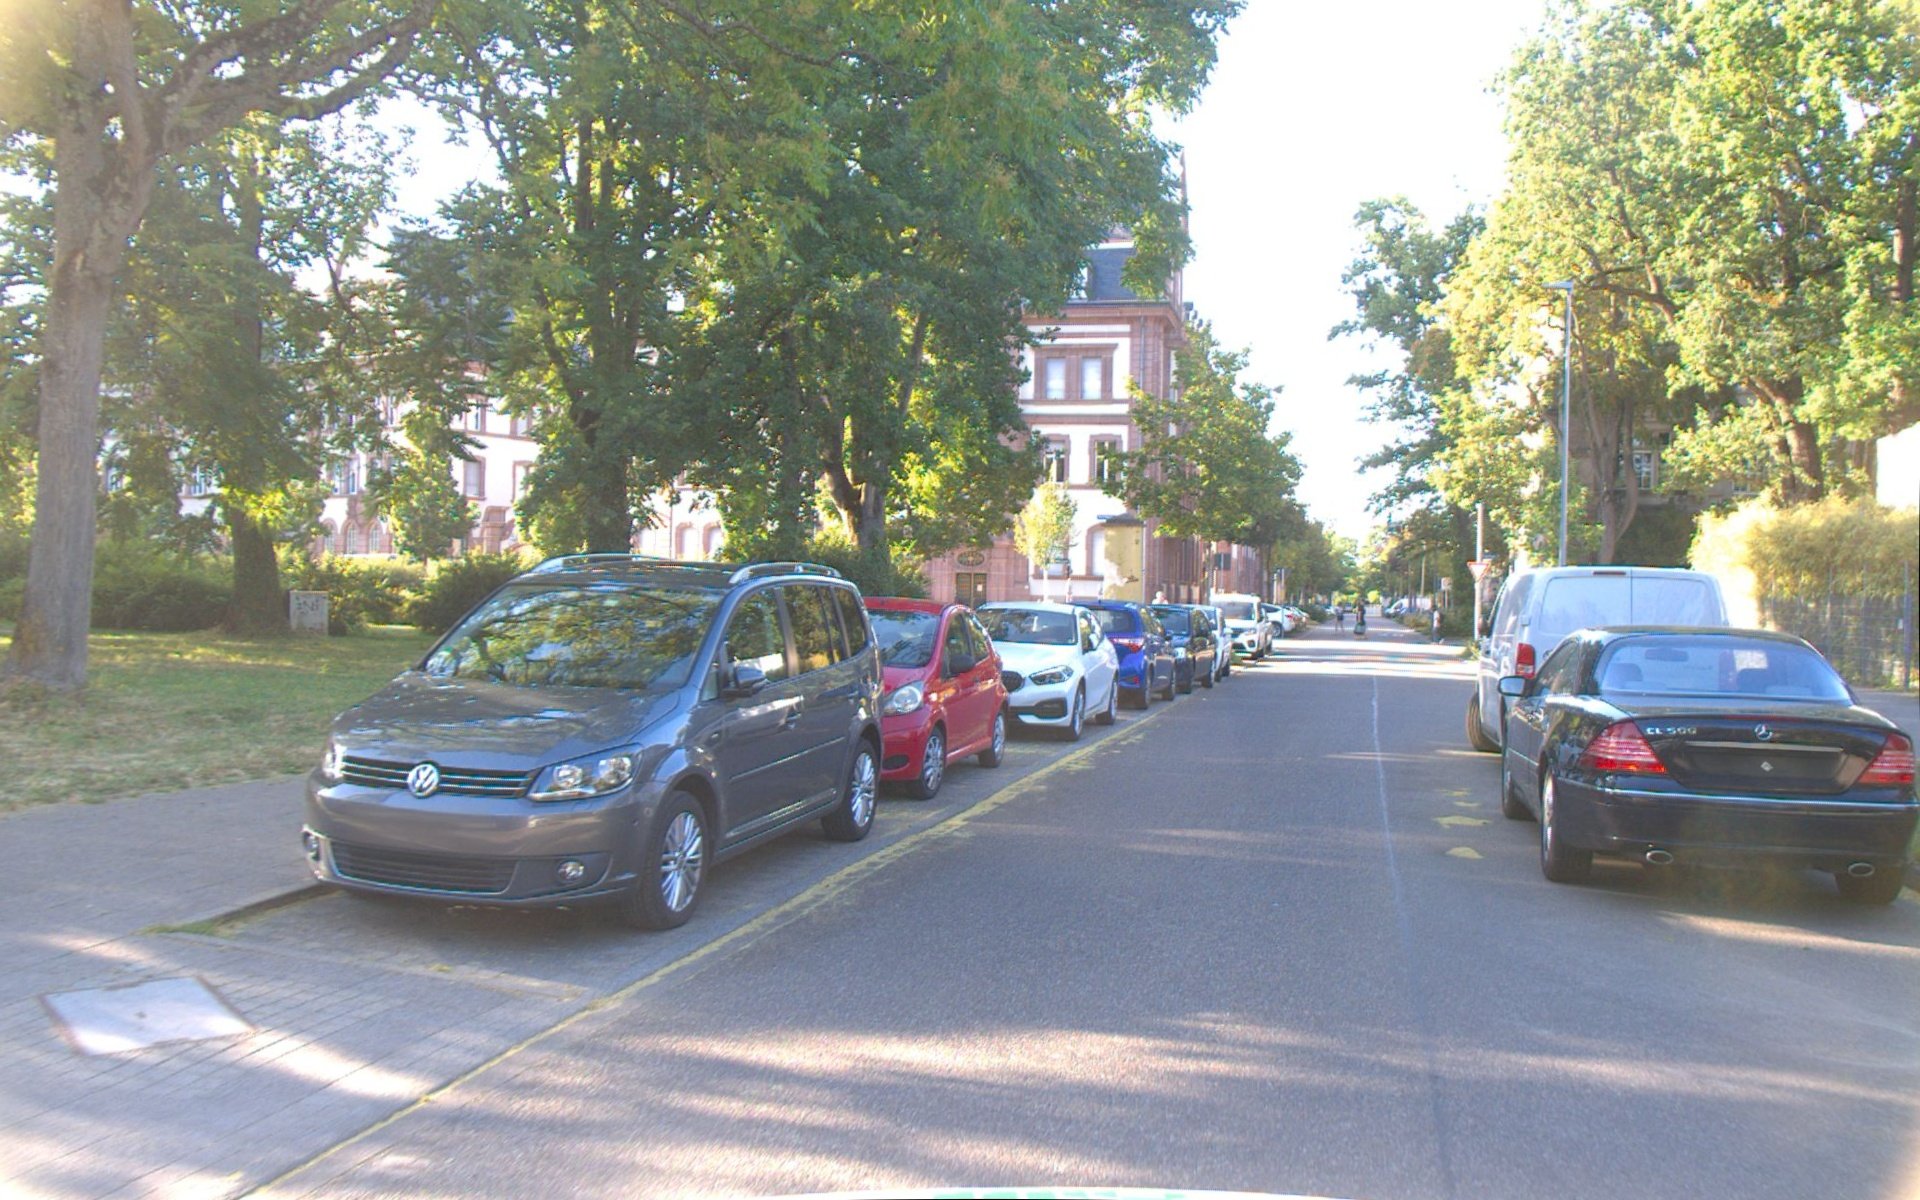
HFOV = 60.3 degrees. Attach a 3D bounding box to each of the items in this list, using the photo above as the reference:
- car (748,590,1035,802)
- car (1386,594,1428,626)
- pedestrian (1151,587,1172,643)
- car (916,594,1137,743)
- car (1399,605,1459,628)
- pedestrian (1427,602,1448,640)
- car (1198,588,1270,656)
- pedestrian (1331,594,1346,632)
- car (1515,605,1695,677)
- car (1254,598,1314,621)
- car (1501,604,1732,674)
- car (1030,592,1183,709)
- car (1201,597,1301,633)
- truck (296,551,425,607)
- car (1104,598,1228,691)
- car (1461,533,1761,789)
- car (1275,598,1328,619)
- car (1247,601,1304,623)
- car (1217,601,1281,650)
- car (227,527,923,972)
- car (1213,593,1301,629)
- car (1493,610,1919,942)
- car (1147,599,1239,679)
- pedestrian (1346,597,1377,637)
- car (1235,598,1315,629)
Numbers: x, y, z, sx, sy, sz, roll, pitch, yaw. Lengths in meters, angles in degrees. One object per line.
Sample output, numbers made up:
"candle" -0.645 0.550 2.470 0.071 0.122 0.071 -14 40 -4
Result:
"car" -0.438 0.690 13.715 1.358 1.448 3.429 3 1 15
"car" 54.273 1.212 200.714 4.782 3.681 1.843 1 0 13
"pedestrian" 6.603 0.492 54.225 0.586 1.815 0.947 1 0 11
"car" 0.881 0.702 19.042 1.654 1.430 3.977 3 1 15
"car" 36.707 1.274 129.594 4.387 1.636 1.844 1 0 12
"pedestrian" 21.170 0.932 73.378 0.768 1.634 0.721 1 -1 8
"car" 8.052 0.604 48.352 1.743 1.873 4.556 1 0 13
"pedestrian" 20.412 0.699 89.258 0.703 1.996 0.787 1 -1 18
"car" 14.973 0.933 38.563 3.602 1.550 1.793 1 0 11
"car" 24.655 0.686 125.760 4.387 1.636 1.844 1 0 12
"car" 14.245 0.859 36.158 4.491 1.439 1.924 -1 -2 15
"car" 2.270 0.699 24.778 1.604 1.521 3.708 3 1 15
"car" 14.205 0.726 80.688 4.739 1.622 1.844 1 0 12
"truck" -35.135 -1.228 96.878 7.833 3.082 2.608 1 0 30
"car" 3.745 0.740 29.608 1.519 1.520 3.945 1 0 17
"car" 6.098 0.486 16.121 1.911 2.049 5.157 1 0 13
"car" 28.913 0.690 140.102 4.387 1.636 1.844 1 0 12
"car" 24.921 0.931 130.664 4.387 1.636 1.844 1 0 12
"car" 9.835 0.827 56.054 1.743 1.531 4.556 1 0 14
"car" -1.687 0.588 8.921 1.764 1.705 4.324 3 1 15
"car" 15.320 0.550 85.205 4.387 1.747 1.844 1 0 12
"car" 4.461 0.840 10.250 1.727 1.494 4.869 1 0 13
"car" 4.930 0.768 34.651 1.558 1.553 3.868 1 0 13
"pedestrian" 19.231 0.826 79.263 1.044 1.890 0.997 1 0 -18
"car" 17.708 0.754 92.932 4.387 1.636 1.844 1 0 12
